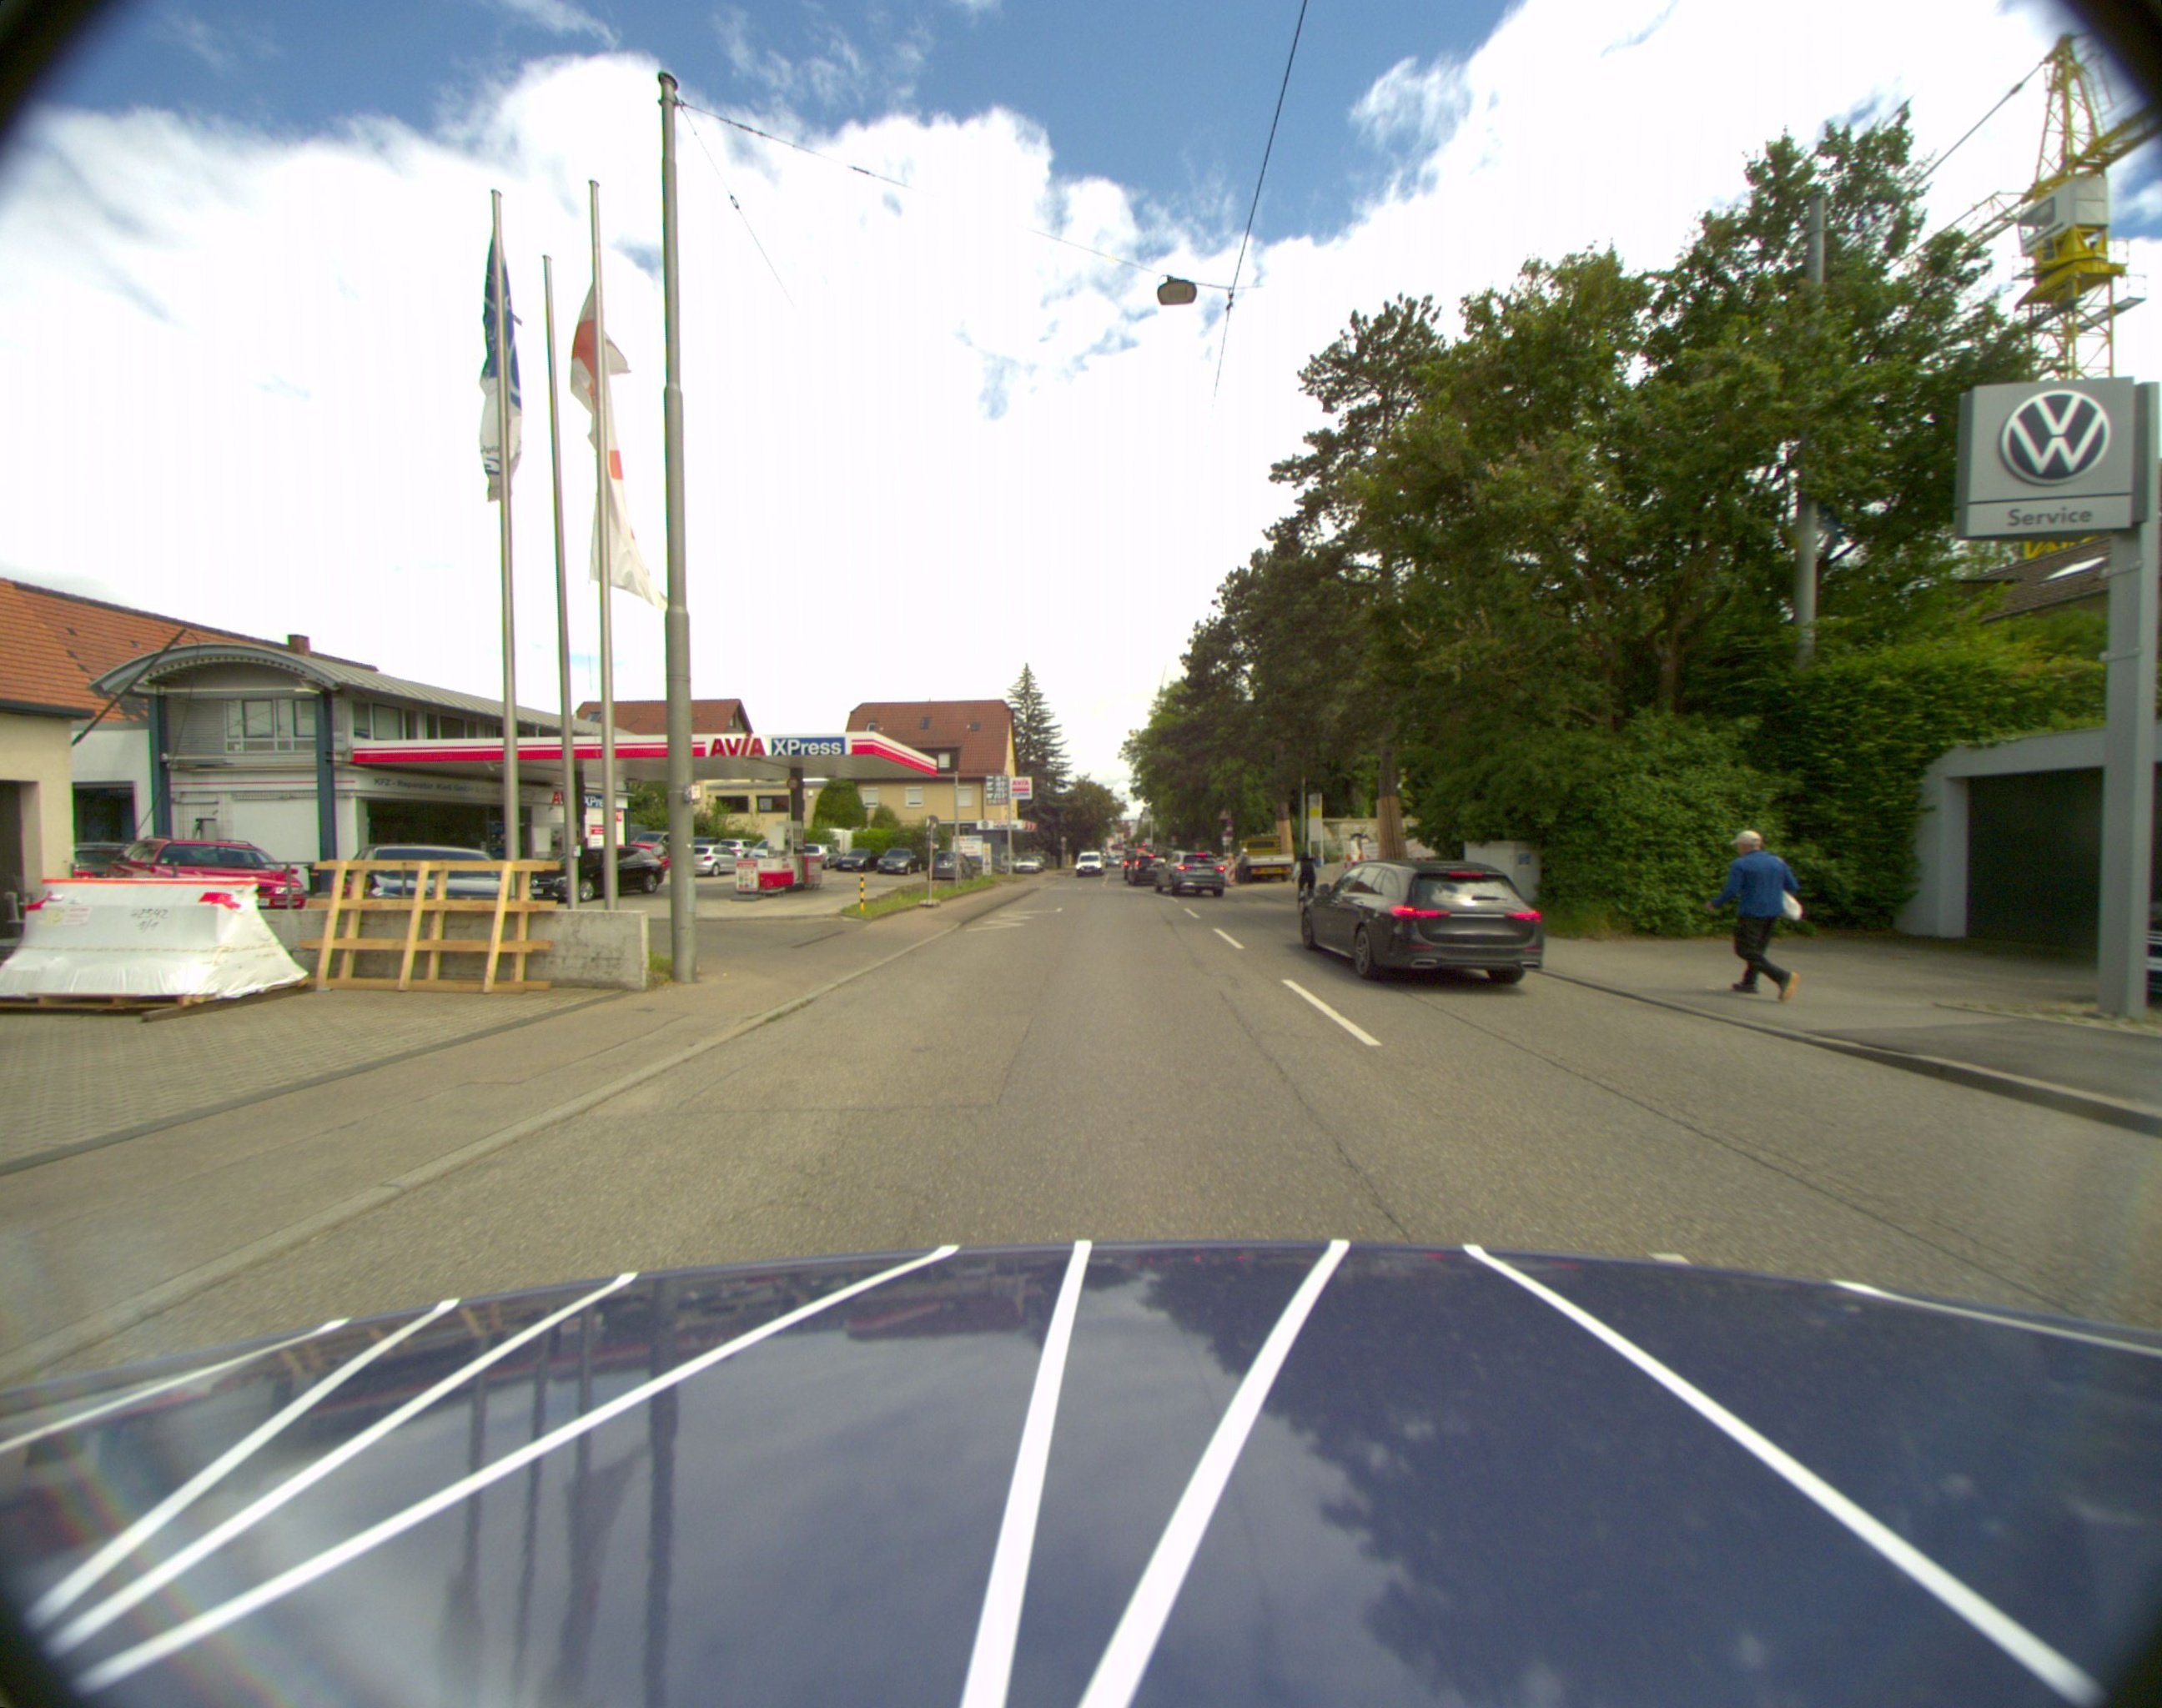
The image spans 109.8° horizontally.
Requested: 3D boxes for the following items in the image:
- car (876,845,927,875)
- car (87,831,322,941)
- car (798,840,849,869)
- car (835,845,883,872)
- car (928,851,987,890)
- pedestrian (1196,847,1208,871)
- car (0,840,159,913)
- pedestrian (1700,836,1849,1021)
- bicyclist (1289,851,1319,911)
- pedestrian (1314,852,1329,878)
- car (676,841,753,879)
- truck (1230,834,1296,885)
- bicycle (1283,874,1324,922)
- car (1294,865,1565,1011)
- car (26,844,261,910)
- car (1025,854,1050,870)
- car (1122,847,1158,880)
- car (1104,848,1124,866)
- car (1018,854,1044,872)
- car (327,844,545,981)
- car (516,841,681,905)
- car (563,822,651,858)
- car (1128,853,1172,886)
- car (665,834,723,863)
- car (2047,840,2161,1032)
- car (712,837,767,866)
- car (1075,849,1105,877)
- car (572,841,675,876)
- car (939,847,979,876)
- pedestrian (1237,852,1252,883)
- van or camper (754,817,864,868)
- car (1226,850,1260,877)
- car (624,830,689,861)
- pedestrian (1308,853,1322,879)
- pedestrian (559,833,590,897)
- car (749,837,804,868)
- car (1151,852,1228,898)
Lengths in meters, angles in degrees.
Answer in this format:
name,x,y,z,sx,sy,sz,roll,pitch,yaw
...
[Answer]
name,x,y,z,sx,sy,sz,roll,pitch,yaw
car,-10.410,0.281,44.427,1.716,1.533,4.655,3,1,1
car,-15.826,0.539,13.670,4.595,1.706,1.830,0,-3,30
car,-15.164,-0.001,44.933,1.641,1.576,3.746,3,1,0
car,-12.870,0.229,44.319,1.640,1.364,3.746,3,1,0
car,-5.721,0.710,35.610,1.618,1.587,4.161,5,1,5
pedestrian,9.591,0.413,60.157,0.835,1.837,1.022,-2,2,5
car,-22.567,0.463,16.292,3.751,1.432,1.622,2,-3,5
pedestrian,6.877,0.698,7.577,0.684,1.727,0.868,-2,2,2
bicyclist,5.561,0.658,18.944,0.470,1.440,0.864,1,1,-1
pedestrian,12.744,0.574,40.224,0.574,1.377,0.539,-1,2,39
car,-17.320,0.233,36.078,1.633,1.493,3.746,3,4,4
truck,9.509,0.203,40.255,2.311,2.406,6.093,-2,1,4
bicycle,5.534,1.068,19.003,0.455,1.080,1.869,1,0,-1
car,4.262,0.903,10.188,1.744,1.421,4.524,0,0,3
car,-23.370,0.533,19.055,3.752,1.452,1.714,1,4,2
car,-3.724,0.641,65.819,1.789,1.276,4.316,0,1,1
car,3.570,0.560,46.563,1.913,1.940,4.914,-1,0,1
car,3.585,0.273,82.781,1.965,1.796,4.223,-3,1,3
car,-3.893,0.655,59.857,1.789,1.309,4.480,0,1,-1
car,-9.900,0.742,11.547,4.306,1.621,1.639,2,0,38
car,-13.873,0.474,22.225,1.634,1.599,4.571,-1,1,4
car,-27.600,-0.834,44.490,1.923,1.907,5.135,3,1,0
car,3.380,0.732,37.753,1.870,1.518,4.528,0,0,2
car,-22.647,-0.369,44.618,1.571,1.560,3.498,3,1,0
car,11.413,0.638,6.257,4.299,1.631,1.904,-2,0,3
car,-20.023,-0.170,44.711,1.571,1.560,3.498,3,1,0
car,0.712,0.598,55.749,1.965,1.796,4.429,-3,1,3
car,-20.946,0.183,34.864,3.750,1.452,1.620,1,4,5
car,-7.243,0.408,45.352,1.638,1.520,4.202,3,1,0
pedestrian,8.327,0.670,38.769,0.575,1.538,0.654,-2,2,-3
van or camper,-17.323,-0.699,48.627,5.974,2.834,2.531,3,1,-1
car,9.742,0.531,45.868,1.627,1.499,3.584,-2,0,6
car,-25.019,-0.523,44.958,1.571,1.622,3.951,3,1,0
pedestrian,12.675,0.636,41.162,0.574,1.377,0.539,-1,2,39
pedestrian,-15.510,0.336,23.269,0.585,1.924,0.541,-1,2,39
car,-17.828,-0.127,44.712,1.571,1.673,4.047,3,1,0
car,4.022,0.738,28.819,1.871,1.608,4.532,0,0,-6
